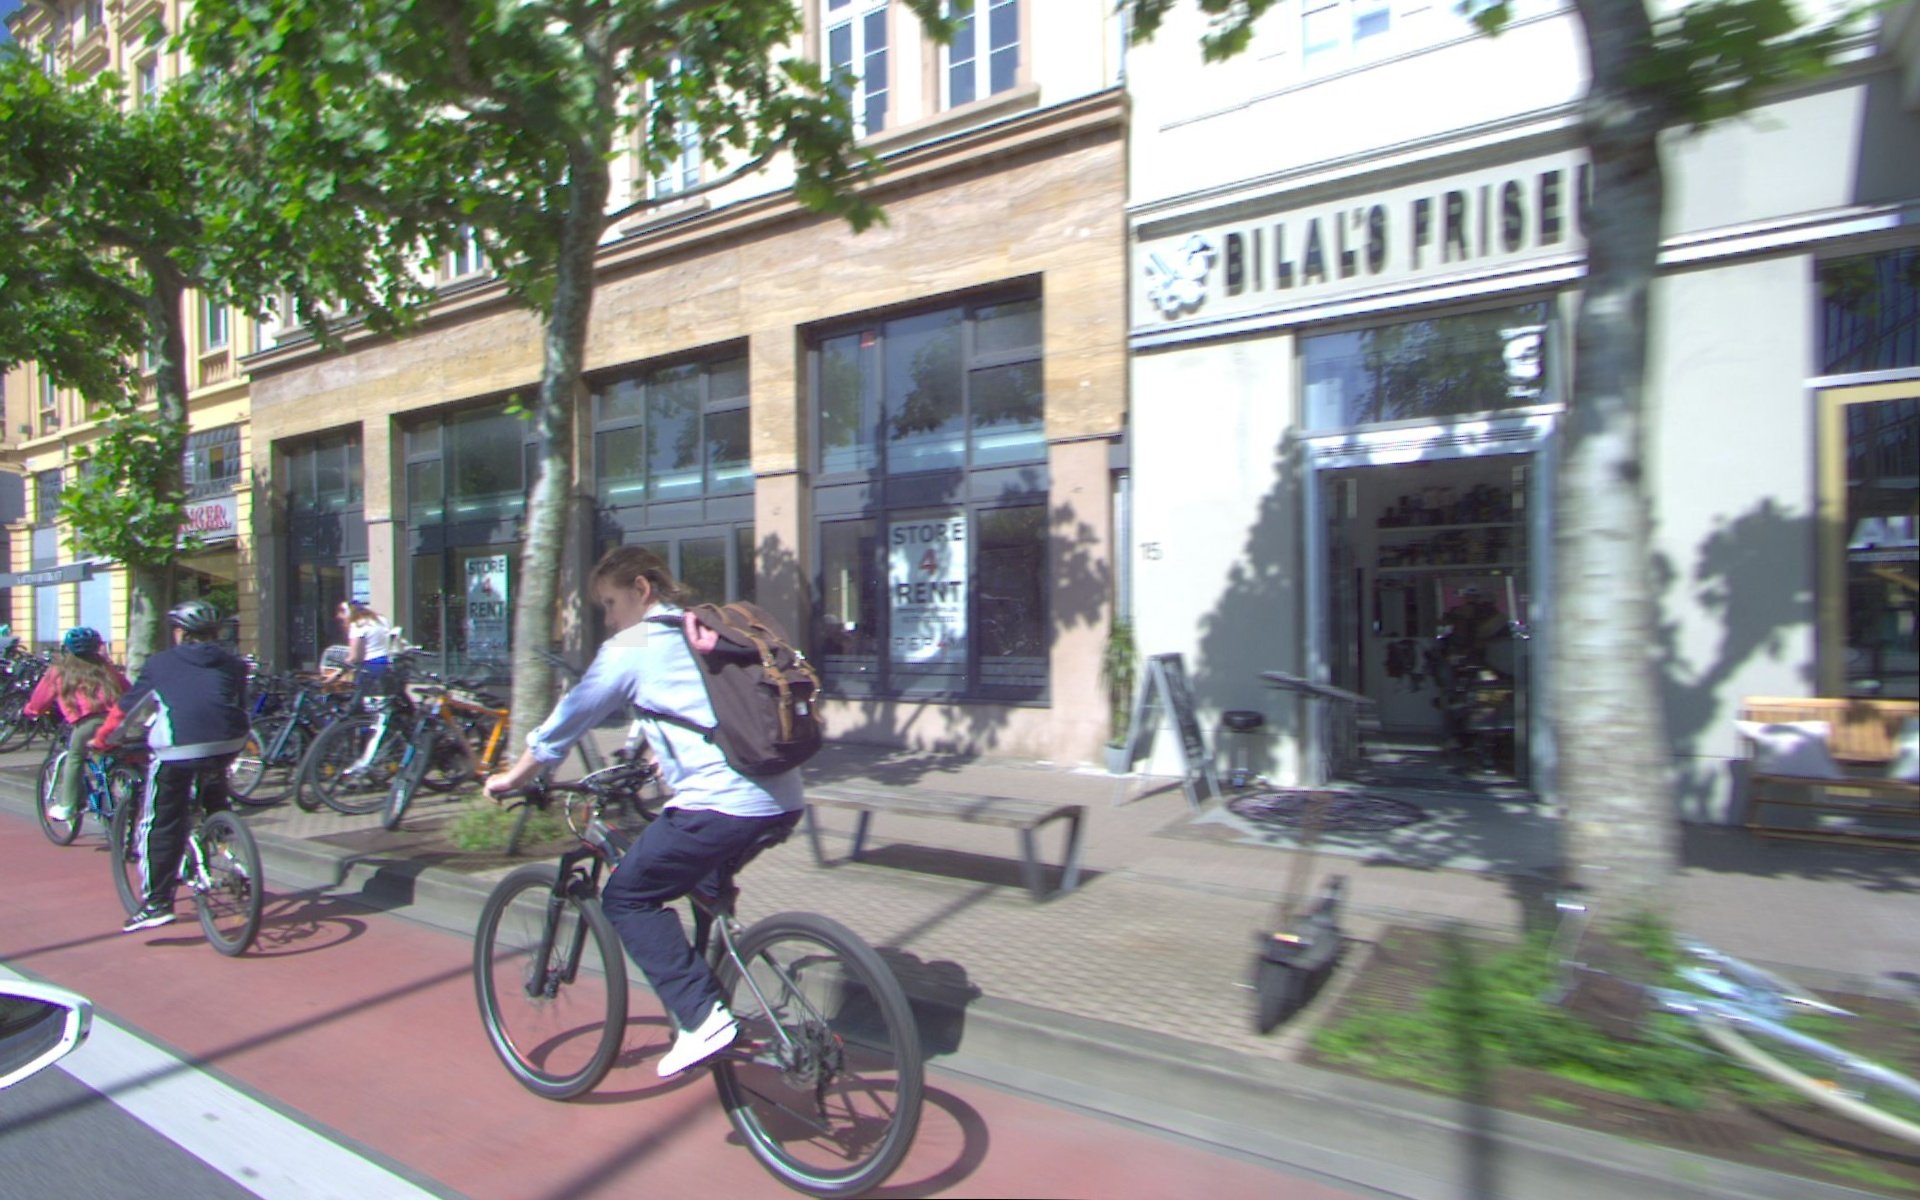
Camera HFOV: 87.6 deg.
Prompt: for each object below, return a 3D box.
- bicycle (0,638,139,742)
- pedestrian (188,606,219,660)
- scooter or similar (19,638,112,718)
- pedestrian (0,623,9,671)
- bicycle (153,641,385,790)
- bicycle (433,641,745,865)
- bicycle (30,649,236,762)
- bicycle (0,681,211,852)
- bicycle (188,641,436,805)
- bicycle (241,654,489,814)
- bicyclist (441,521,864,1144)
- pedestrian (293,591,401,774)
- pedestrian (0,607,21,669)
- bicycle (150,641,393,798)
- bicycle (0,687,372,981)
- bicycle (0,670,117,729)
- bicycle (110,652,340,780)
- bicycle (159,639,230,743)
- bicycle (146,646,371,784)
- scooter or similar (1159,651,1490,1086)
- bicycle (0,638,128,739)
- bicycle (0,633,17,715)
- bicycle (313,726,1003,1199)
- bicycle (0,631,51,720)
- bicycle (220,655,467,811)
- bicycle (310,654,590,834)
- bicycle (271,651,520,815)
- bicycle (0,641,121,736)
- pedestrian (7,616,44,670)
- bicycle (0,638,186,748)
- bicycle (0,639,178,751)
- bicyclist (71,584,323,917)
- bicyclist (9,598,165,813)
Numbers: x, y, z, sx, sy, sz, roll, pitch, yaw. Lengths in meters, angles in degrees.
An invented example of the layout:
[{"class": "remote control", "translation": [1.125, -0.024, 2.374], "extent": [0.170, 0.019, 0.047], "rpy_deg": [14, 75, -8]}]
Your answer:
[{"class": "bicycle", "translation": [-11.362, 1.087, 12.343], "extent": [0.537, 1.216, 1.839], "rpy_deg": [0, -1, 34]}, {"class": "pedestrian", "translation": [-21.942, 0.961, 29.032], "extent": [0.633, 1.541, 0.521], "rpy_deg": [-1, 0, 35]}, {"class": "scooter or similar", "translation": [-13.757, 1.182, 15.402], "extent": [1.208, 1.193, 0.422], "rpy_deg": [0, -1, 12]}, {"class": "pedestrian", "translation": [-33.038, 1.615, 34.261], "extent": [0.668, 1.654, 0.539], "rpy_deg": [-1, -1, 30]}, {"class": "bicycle", "translation": [-6.349, 1.009, 9.299], "extent": [0.471, 1.233, 1.724], "rpy_deg": [0, -1, 34]}, {"class": "bicycle", "translation": [-2.414, 0.920, 6.772], "extent": [0.726, 1.264, 1.927], "rpy_deg": [0, -1, 34]}, {"class": "bicycle", "translation": [-9.021, 1.107, 10.990], "extent": [0.598, 1.109, 1.645], "rpy_deg": [0, -1, 34]}, {"class": "bicycle", "translation": [-5.969, 1.073, 6.847], "extent": [2.056, 0.938, 0.599], "rpy_deg": [0, -1, 30]}, {"class": "bicycle", "translation": [-5.431, 0.973, 8.505], "extent": [0.471, 1.233, 1.724], "rpy_deg": [0, -1, 34]}, {"class": "bicycle", "translation": [-4.757, 1.023, 8.133], "extent": [0.397, 1.123, 1.724], "rpy_deg": [0, -1, 34]}, {"class": "bicyclist", "translation": [-0.872, 0.565, 2.905], "extent": [0.946, 1.464, 0.698], "rpy_deg": [-1, -2, 29]}, {"class": "pedestrian", "translation": [-5.764, 0.748, 9.419], "extent": [0.734, 1.633, 0.613], "rpy_deg": [0, -1, 33]}, {"class": "pedestrian", "translation": [-28.174, 1.118, 29.431], "extent": [0.578, 1.825, 0.550], "rpy_deg": [-1, 0, -12]}, {"class": "bicycle", "translation": [-6.038, 0.994, 8.882], "extent": [0.471, 1.233, 1.724], "rpy_deg": [0, -1, 34]}, {"class": "bicycle", "translation": [-3.887, 1.044, 4.985], "extent": [2.049, 1.141, 0.698], "rpy_deg": [-1, -2, 29]}, {"class": "bicycle", "translation": [-13.076, 1.387, 14.102], "extent": [0.646, 0.725, 1.849], "rpy_deg": [0, -1, 11]}, {"class": "bicycle", "translation": [-7.163, 1.084, 9.849], "extent": [0.598, 1.109, 1.724], "rpy_deg": [0, -1, 34]}, {"class": "bicycle", "translation": [-9.600, 1.099, 12.538], "extent": [1.637, 1.203, 0.470], "rpy_deg": [-1, -1, 44]}, {"class": "bicycle", "translation": [-6.695, 1.047, 9.649], "extent": [0.471, 1.177, 1.724], "rpy_deg": [0, -1, 34]}, {"class": "scooter or similar", "translation": [1.425, 0.844, 3.777], "extent": [0.663, 1.290, 1.467], "rpy_deg": [-1, -3, 43]}, {"class": "bicycle", "translation": [-11.764, 1.102, 12.642], "extent": [0.600, 1.216, 1.839], "rpy_deg": [0, -1, 34]}, {"class": "bicycle", "translation": [-15.448, 1.138, 14.954], "extent": [0.692, 1.273, 1.938], "rpy_deg": [0, -1, 13]}, {"class": "bicycle", "translation": [-0.945, 1.014, 2.938], "extent": [2.049, 1.141, 0.698], "rpy_deg": [-1, -2, 29]}, {"class": "bicycle", "translation": [-14.789, 1.129, 14.899], "extent": [0.676, 1.325, 1.826], "rpy_deg": [0, -1, 12]}, {"class": "bicycle", "translation": [-5.087, 1.046, 8.384], "extent": [0.471, 1.123, 1.724], "rpy_deg": [0, -1, 34]}, {"class": "bicycle", "translation": [-3.717, 0.985, 7.441], "extent": [0.726, 1.123, 1.724], "rpy_deg": [-1, -1, 34]}, {"class": "bicycle", "translation": [-4.399, 0.988, 7.935], "extent": [0.397, 1.123, 1.724], "rpy_deg": [0, -1, 34]}, {"class": "bicycle", "translation": [-12.226, 1.138, 13.076], "extent": [0.650, 1.179, 1.839], "rpy_deg": [0, -1, 34]}, {"class": "pedestrian", "translation": [-27.803, 1.275, 29.796], "extent": [0.578, 1.590, 0.550], "rpy_deg": [-1, 0, -12]}, {"class": "bicycle", "translation": [-10.567, 1.083, 12.119], "extent": [0.468, 1.216, 1.839], "rpy_deg": [0, -1, 34]}, {"class": "bicycle", "translation": [-10.290, 1.072, 11.791], "extent": [0.468, 1.216, 1.645], "rpy_deg": [0, -1, 34]}, {"class": "bicyclist", "translation": [-3.717, 0.681, 4.901], "extent": [0.778, 1.459, 0.698], "rpy_deg": [0, -2, 29]}, {"class": "bicyclist", "translation": [-5.962, 0.687, 6.846], "extent": [0.710, 1.375, 0.599], "rpy_deg": [0, -1, 30]}]
